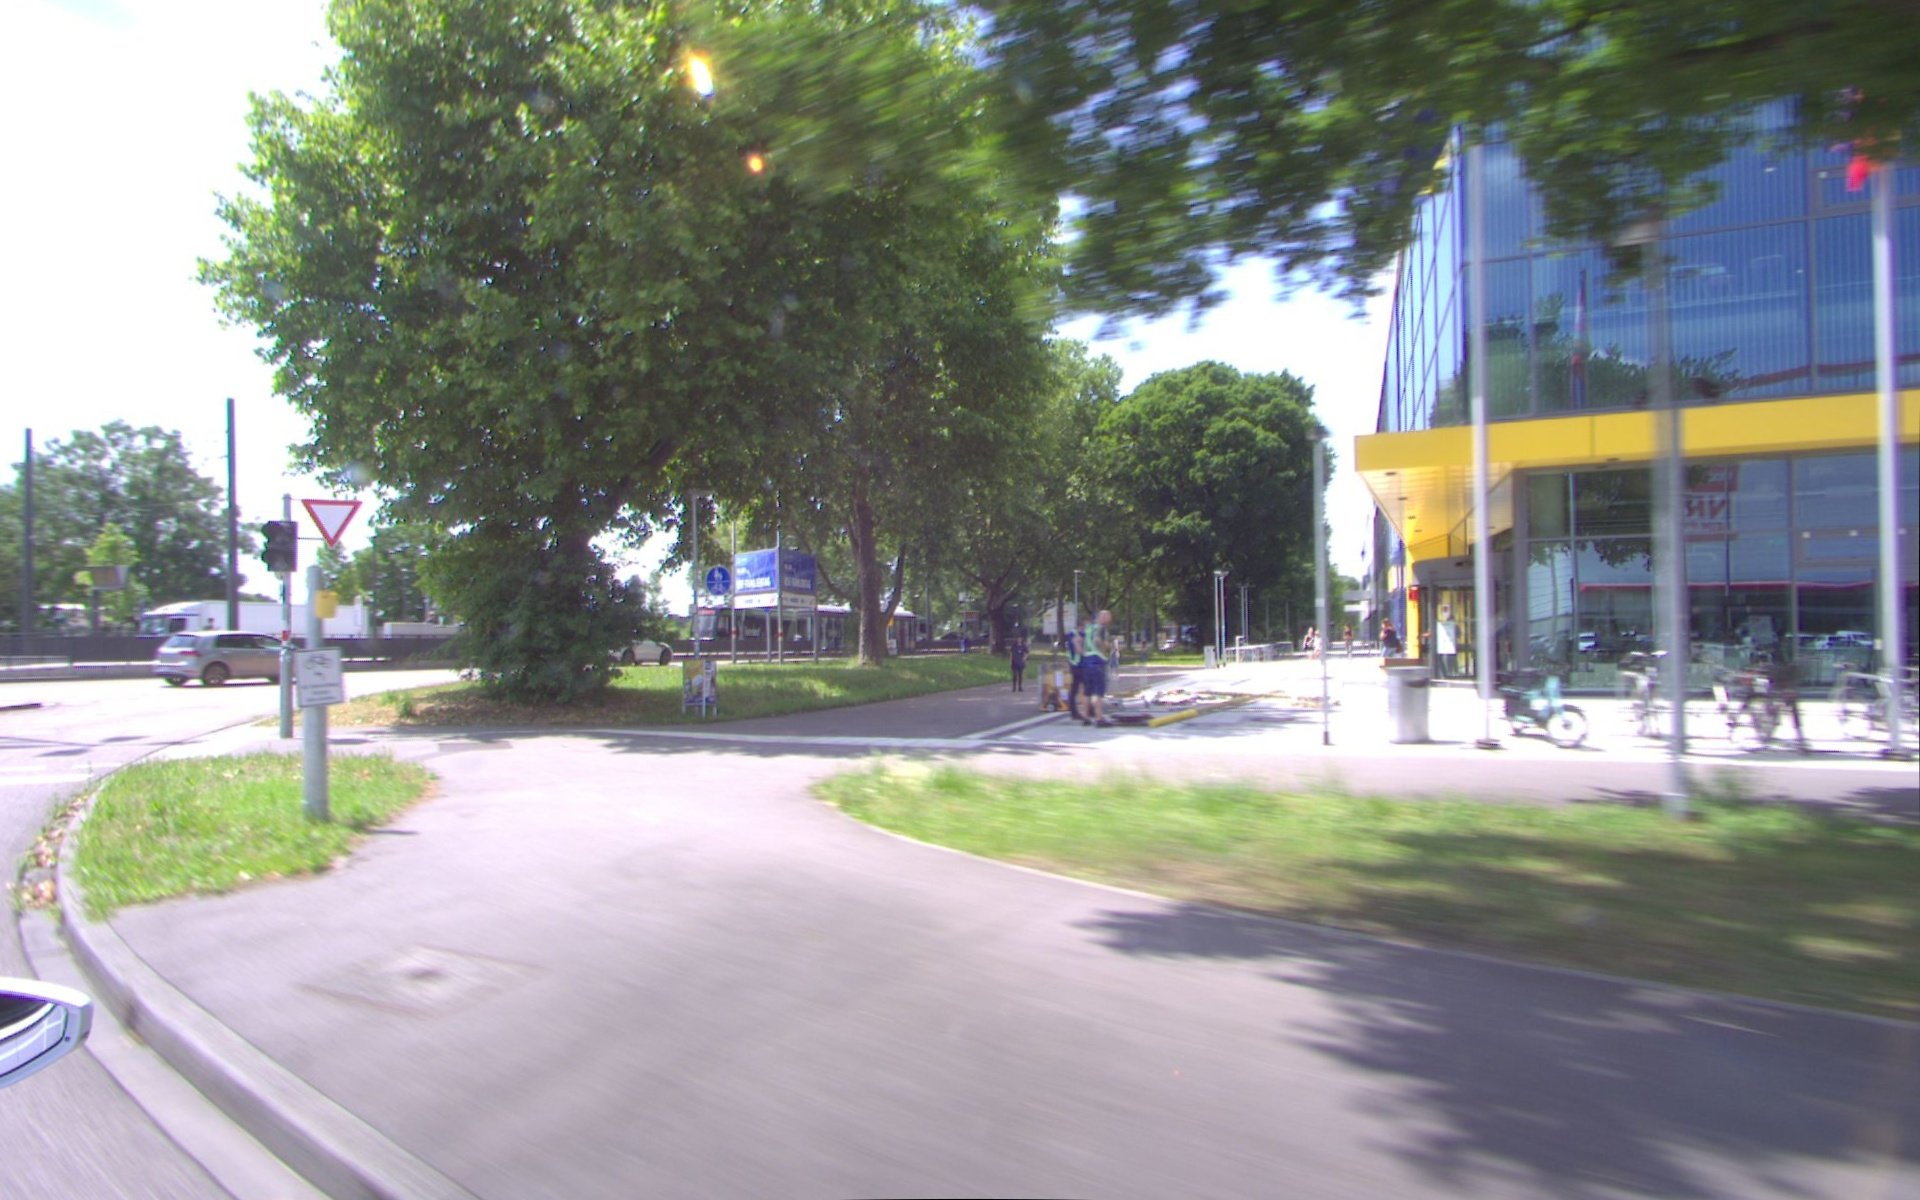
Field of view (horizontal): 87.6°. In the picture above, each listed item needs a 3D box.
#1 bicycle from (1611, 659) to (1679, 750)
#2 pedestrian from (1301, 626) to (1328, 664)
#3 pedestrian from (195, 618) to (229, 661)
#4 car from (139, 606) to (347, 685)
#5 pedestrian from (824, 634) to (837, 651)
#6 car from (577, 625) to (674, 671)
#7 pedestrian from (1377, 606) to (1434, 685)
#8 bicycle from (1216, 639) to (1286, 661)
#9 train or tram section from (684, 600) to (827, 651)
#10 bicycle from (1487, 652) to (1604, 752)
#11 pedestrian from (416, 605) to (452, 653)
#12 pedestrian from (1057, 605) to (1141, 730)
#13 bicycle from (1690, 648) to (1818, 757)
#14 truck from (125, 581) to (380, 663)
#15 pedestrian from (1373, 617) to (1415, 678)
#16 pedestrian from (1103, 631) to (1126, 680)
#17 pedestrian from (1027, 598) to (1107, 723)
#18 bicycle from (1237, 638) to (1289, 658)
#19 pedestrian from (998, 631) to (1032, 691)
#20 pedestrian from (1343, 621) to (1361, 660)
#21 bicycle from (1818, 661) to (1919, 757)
[{"bbox_3d":[8.784,1.302,12.886,0.417,1.007,1.862,0,-1,25],"label":"bicycle"},{"bbox_3d":[15.851,2.023,44.804,0.872,1.685,0.784,1,-1,-17],"label":"pedestrian"},{"bbox_3d":[-32.380,1.722,43.351,0.724,1.830,0.928,0,-1,23],"label":"pedestrian"},{"bbox_3d":[-19.845,1.228,27.945,1.966,2.015,4.353,-1,-2,22],"label":"car"},{"bbox_3d":[-9.231,3.009,71.184,0.683,1.205,0.640,1,-1,22],"label":"pedestrian"},{"bbox_3d":[-15.495,2.193,46.636,1.966,2.015,4.353,-1,-2,22],"label":"car"},{"bbox_3d":[11.030,1.122,24.795,0.874,1.910,0.970,1,-1,-27],"label":"pedestrian"},{"bbox_3d":[16.192,2.788,55.923,0.976,1.190,3.805,0,-3,-42],"label":"bicycle"},{"bbox_3d":[-14.011,1.908,70.584,2.994,3.226,14.080,-1,-3,20],"label":"train or tram section"},{"bbox_3d":[7.517,1.277,12.951,0.494,1.122,1.926,-2,-1,5],"label":"bicycle"},{"bbox_3d":[-21.704,1.190,41.295,0.861,1.964,0.992,0,0,22],"label":"pedestrian"},{"bbox_3d":[2.246,1.066,16.128,0.962,1.926,1.004,-1,-1,38],"label":"pedestrian"},{"bbox_3d":[9.564,1.198,12.131,0.453,1.172,1.681,0,-1,9],"label":"bicycle"},{"bbox_3d":[-39.673,1.354,56.999,2.904,4.156,11.963,0,-2,25],"label":"truck"},{"bbox_3d":[12.212,1.328,28.204,0.789,1.685,0.704,-1,-1,-7],"label":"pedestrian"},{"bbox_3d":[5.393,1.927,34.907,0.584,1.685,0.717,0,-1,28],"label":"pedestrian"},{"bbox_3d":[1.886,1.055,17.589,0.962,2.098,1.004,-3,-2,38],"label":"pedestrian"},{"bbox_3d":[17.401,2.759,57.562,0.888,1.135,2.753,1,-3,-43],"label":"bicycle"},{"bbox_3d":[1.604,1.768,29.138,0.709,1.685,0.591,-4,-1,27],"label":"pedestrian"},{"bbox_3d":[17.073,1.779,43.588,0.537,1.685,0.484,1,-1,-21],"label":"pedestrian"},{"bbox_3d":[11.011,1.265,11.999,0.456,1.007,1.865,0,-2,19],"label":"bicycle"}]
